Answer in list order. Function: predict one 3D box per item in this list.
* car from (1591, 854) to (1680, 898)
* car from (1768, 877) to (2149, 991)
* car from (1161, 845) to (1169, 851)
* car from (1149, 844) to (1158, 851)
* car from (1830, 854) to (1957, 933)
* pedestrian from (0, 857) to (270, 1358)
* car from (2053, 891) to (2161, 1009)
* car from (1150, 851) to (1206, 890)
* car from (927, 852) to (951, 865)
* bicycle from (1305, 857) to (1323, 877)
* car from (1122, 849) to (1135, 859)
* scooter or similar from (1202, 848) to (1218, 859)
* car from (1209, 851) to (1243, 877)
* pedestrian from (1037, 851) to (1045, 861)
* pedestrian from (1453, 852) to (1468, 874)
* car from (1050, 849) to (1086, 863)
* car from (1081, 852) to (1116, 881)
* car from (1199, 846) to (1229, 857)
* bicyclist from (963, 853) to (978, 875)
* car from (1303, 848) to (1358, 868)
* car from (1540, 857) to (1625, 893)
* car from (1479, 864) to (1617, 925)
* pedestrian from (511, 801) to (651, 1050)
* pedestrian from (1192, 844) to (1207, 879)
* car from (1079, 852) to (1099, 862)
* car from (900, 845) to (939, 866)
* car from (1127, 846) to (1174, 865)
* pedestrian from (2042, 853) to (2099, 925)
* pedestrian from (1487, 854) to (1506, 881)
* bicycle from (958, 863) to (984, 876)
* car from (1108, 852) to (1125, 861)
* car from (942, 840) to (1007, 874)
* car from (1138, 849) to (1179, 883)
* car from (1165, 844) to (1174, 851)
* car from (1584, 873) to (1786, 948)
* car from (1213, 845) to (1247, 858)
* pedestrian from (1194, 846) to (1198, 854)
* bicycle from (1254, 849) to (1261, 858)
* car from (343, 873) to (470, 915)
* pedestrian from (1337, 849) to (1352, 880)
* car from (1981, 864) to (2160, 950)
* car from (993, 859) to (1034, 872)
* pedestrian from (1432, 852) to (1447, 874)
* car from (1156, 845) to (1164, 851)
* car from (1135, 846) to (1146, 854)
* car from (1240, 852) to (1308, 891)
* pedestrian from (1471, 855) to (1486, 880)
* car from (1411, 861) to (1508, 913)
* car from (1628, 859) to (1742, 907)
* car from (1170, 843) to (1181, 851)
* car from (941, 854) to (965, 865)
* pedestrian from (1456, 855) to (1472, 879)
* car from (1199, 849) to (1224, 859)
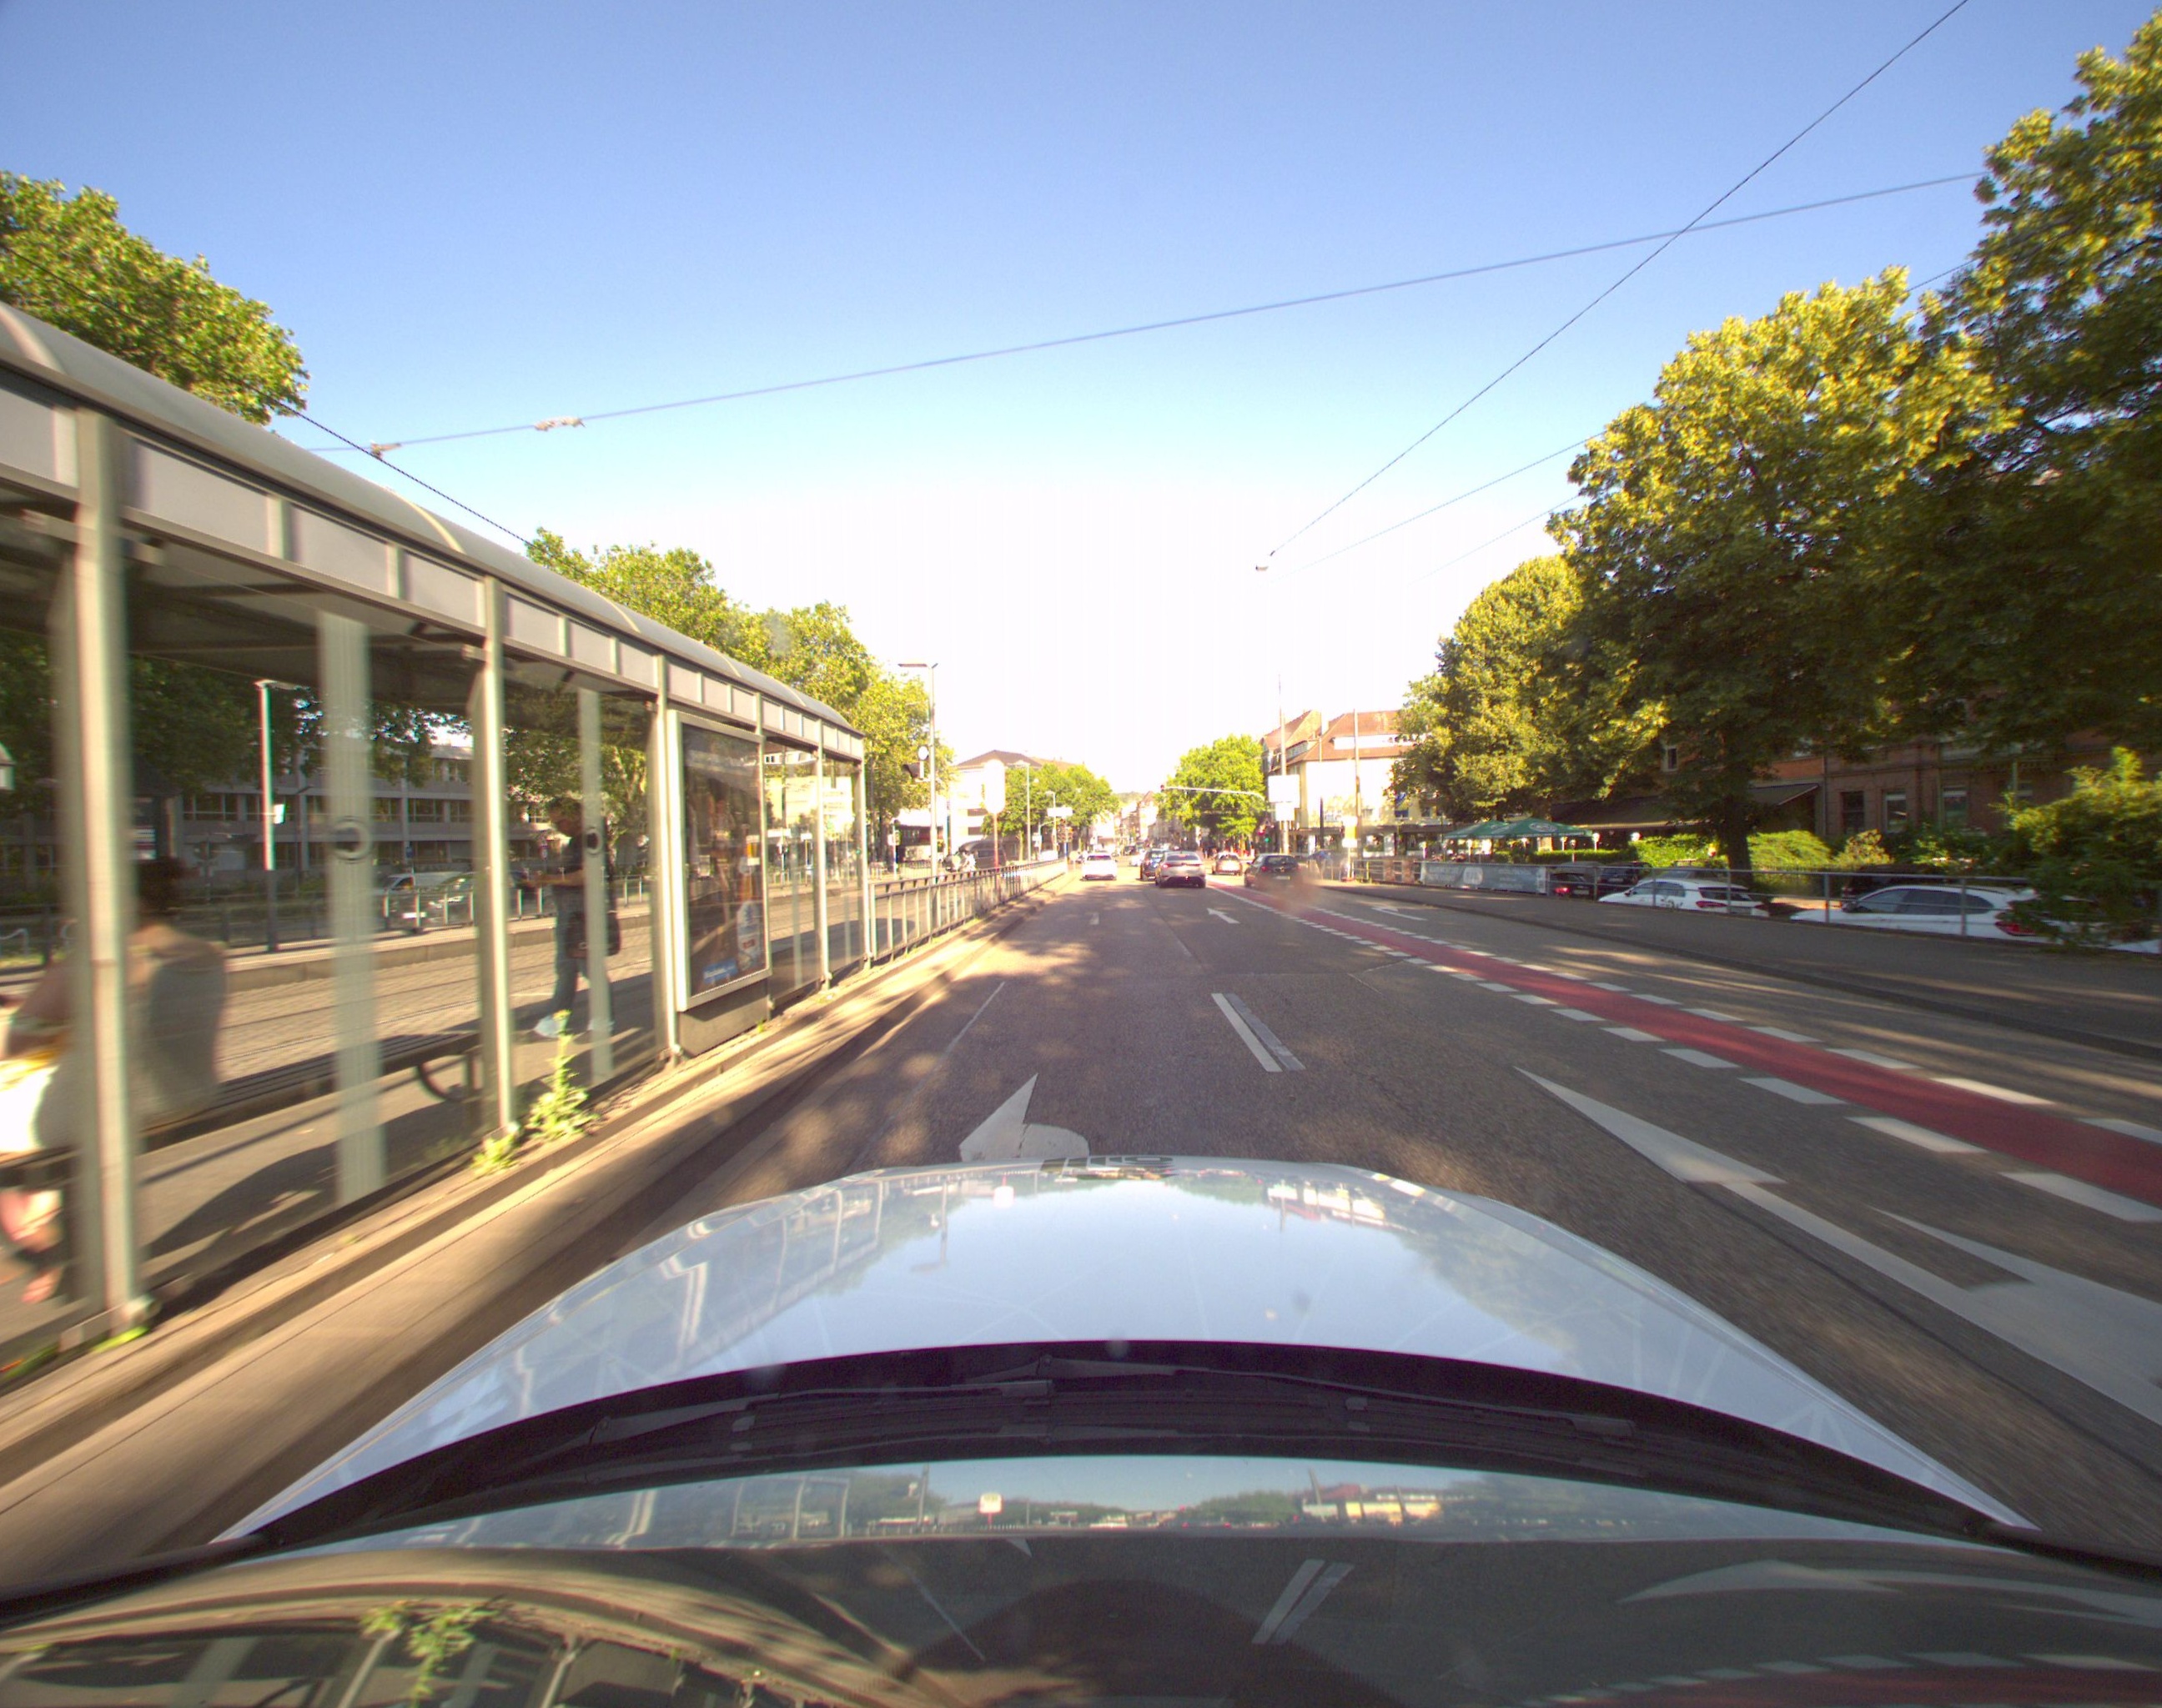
[{"bbox_3d":[22.514,0.864,33.021,4.019,1.480,1.780,-3,1,-38],"label":"car"},{"bbox_3d":[14.735,1.229,14.172,1.787,1.579,4.554,-1,-1,1],"label":"car"},{"bbox_3d":[20.721,-1.501,200.640,1.788,1.510,4.001,-2,0,1],"label":"car"},{"bbox_3d":[21.705,-1.932,244.906,2.318,2.013,4.978,-2,0,1],"label":"car"},{"bbox_3d":[21.761,0.980,21.767,4.018,1.734,1.780,-3,1,-36],"label":"car"},{"bbox_3d":[-3.070,0.669,2.441,0.676,1.309,0.593,-1,0,2],"label":"pedestrian"},{"bbox_3d":[14.621,1.238,9.714,1.788,1.441,3.577,-1,-1,0],"label":"car"},{"bbox_3d":[4.067,0.653,34.722,1.922,1.472,4.857,-1,0,2],"label":"car"},{"bbox_3d":[-21.980,0.678,125.837,1.779,1.955,4.021,-2,0,20],"label":"car"},{"bbox_3d":[12.808,0.688,44.737,0.496,1.075,1.801,-1,-1,2],"label":"bicycle"},{"bbox_3d":[8.846,0.048,151.926,1.782,1.826,4.013,-2,0,12],"label":"car"},{"bbox_3d":[15.738,-0.096,99.680,1.926,1.280,0.557,-1,0,43],"label":"scooter or similar"},{"bbox_3d":[9.364,0.595,52.885,1.786,1.510,4.006,-1,1,5],"label":"car"},{"bbox_3d":[-6.085,0.294,123.690,0.795,1.484,0.867,-2,0,27],"label":"pedestrian"},{"bbox_3d":[23.746,0.557,50.960,0.645,1.338,0.632,1,0,2],"label":"pedestrian"},{"bbox_3d":[-1.491,0.213,94.588,3.949,1.510,1.811,-1,0,41],"label":"car"},{"bbox_3d":[0.951,0.659,43.748,1.802,1.452,4.001,-1,0,1],"label":"car"},{"bbox_3d":[18.942,-0.354,115.920,3.980,1.510,1.797,-2,0,-5],"label":"car"},{"bbox_3d":[-7.356,0.651,54.359,0.794,1.414,0.530,-2,0,17],"label":"bicyclist"},{"bbox_3d":[20.261,0.307,66.220,3.997,1.510,1.789,-1,0,-18],"label":"car"},{"bbox_3d":[22.225,0.894,36.047,4.018,1.348,1.760,-3,1,-36],"label":"car"},{"bbox_3d":[15.000,1.242,26.430,1.791,1.803,4.203,0,-1,-5],"label":"car"},{"bbox_3d":[-3.542,0.484,5.805,0.592,1.678,0.590,-1,0,6],"label":"pedestrian"},{"bbox_3d":[6.324,0.409,43.586,0.654,1.871,0.678,-2,0,1],"label":"pedestrian"},{"bbox_3d":[1.332,0.515,130.591,1.707,1.510,3.899,-2,-1,26],"label":"car"},{"bbox_3d":[-25.159,0.183,126.930,2.473,3.165,6.573,-2,0,24],"label":"car"},{"bbox_3d":[6.451,0.145,76.139,4.141,1.692,1.818,-1,0,-6],"label":"car"},{"bbox_3d":[24.706,0.867,20.342,0.646,1.746,0.631,-1,0,-3],"label":"pedestrian"},{"bbox_3d":[21.473,0.696,42.105,0.645,1.338,0.632,1,0,2],"label":"pedestrian"},{"bbox_3d":[-7.347,1.031,54.359,1.598,0.816,0.530,-2,0,17],"label":"bicycle"},{"bbox_3d":[6.344,0.473,144.540,1.779,1.510,4.020,-2,-1,20],"label":"car"},{"bbox_3d":[-8.891,0.222,68.041,5.055,2.743,2.050,0,-1,-39],"label":"car"},{"bbox_3d":[3.933,0.569,41.844,1.794,1.638,4.046,-1,0,1],"label":"car"},{"bbox_3d":[21.208,-1.478,194.464,1.788,1.510,4.001,-2,0,1],"label":"car"},{"bbox_3d":[14.696,1.294,20.184,1.788,1.579,4.444,-1,-1,1],"label":"car"},{"bbox_3d":[19.283,-0.330,105.573,3.983,1.510,1.796,-2,0,-7],"label":"car"},{"bbox_3d":[25.318,-0.883,179.080,0.644,1.651,0.652,-1,-1,12],"label":"pedestrian"},{"bbox_3d":[21.502,-0.100,99.412,0.606,1.107,1.803,-1,0,6],"label":"bicycle"},{"bbox_3d":[-42.401,2.453,51.376,2.131,2.335,5.757,-1,0,25],"label":"car"},{"bbox_3d":[13.365,0.532,41.289,0.642,1.563,0.635,1,0,20],"label":"pedestrian"},{"bbox_3d":[22.113,1.091,18.184,4.011,1.513,1.784,-3,1,-28],"label":"car"},{"bbox_3d":[-5.830,0.998,70.626,2.926,1.162,2.050,0,-1,-39],"label":"car"},{"bbox_3d":[22.856,0.576,51.947,0.645,1.338,0.632,1,0,2],"label":"pedestrian"},{"bbox_3d":[21.239,-1.590,219.879,1.788,1.522,4.001,-2,0,1],"label":"car"},{"bbox_3d":[12.156,-0.813,166.480,1.788,1.510,4.000,-2,0,1],"label":"car"},{"bbox_3d":[7.476,0.637,31.888,1.793,1.439,4.047,0,0,2],"label":"car"},{"bbox_3d":[21.368,0.717,43.824,0.642,1.338,0.636,1,0,32],"label":"pedestrian"},{"bbox_3d":[14.862,1.254,32.291,1.789,1.898,4.358,-1,-1,0],"label":"car"},{"bbox_3d":[21.924,0.985,29.506,4.266,1.406,1.944,-3,1,-33],"label":"car"},{"bbox_3d":[21.702,-1.604,187.922,2.097,1.776,4.343,-2,0,1],"label":"car"},{"bbox_3d":[-19.588,0.864,124.909,1.779,1.510,4.031,-2,0,20],"label":"car"},{"bbox_3d":[22.185,0.743,47.199,0.645,1.338,0.632,1,0,2],"label":"pedestrian"},{"bbox_3d":[20.837,-0.033,130.098,4.021,1.510,1.779,-2,0,-40],"label":"car"}]
